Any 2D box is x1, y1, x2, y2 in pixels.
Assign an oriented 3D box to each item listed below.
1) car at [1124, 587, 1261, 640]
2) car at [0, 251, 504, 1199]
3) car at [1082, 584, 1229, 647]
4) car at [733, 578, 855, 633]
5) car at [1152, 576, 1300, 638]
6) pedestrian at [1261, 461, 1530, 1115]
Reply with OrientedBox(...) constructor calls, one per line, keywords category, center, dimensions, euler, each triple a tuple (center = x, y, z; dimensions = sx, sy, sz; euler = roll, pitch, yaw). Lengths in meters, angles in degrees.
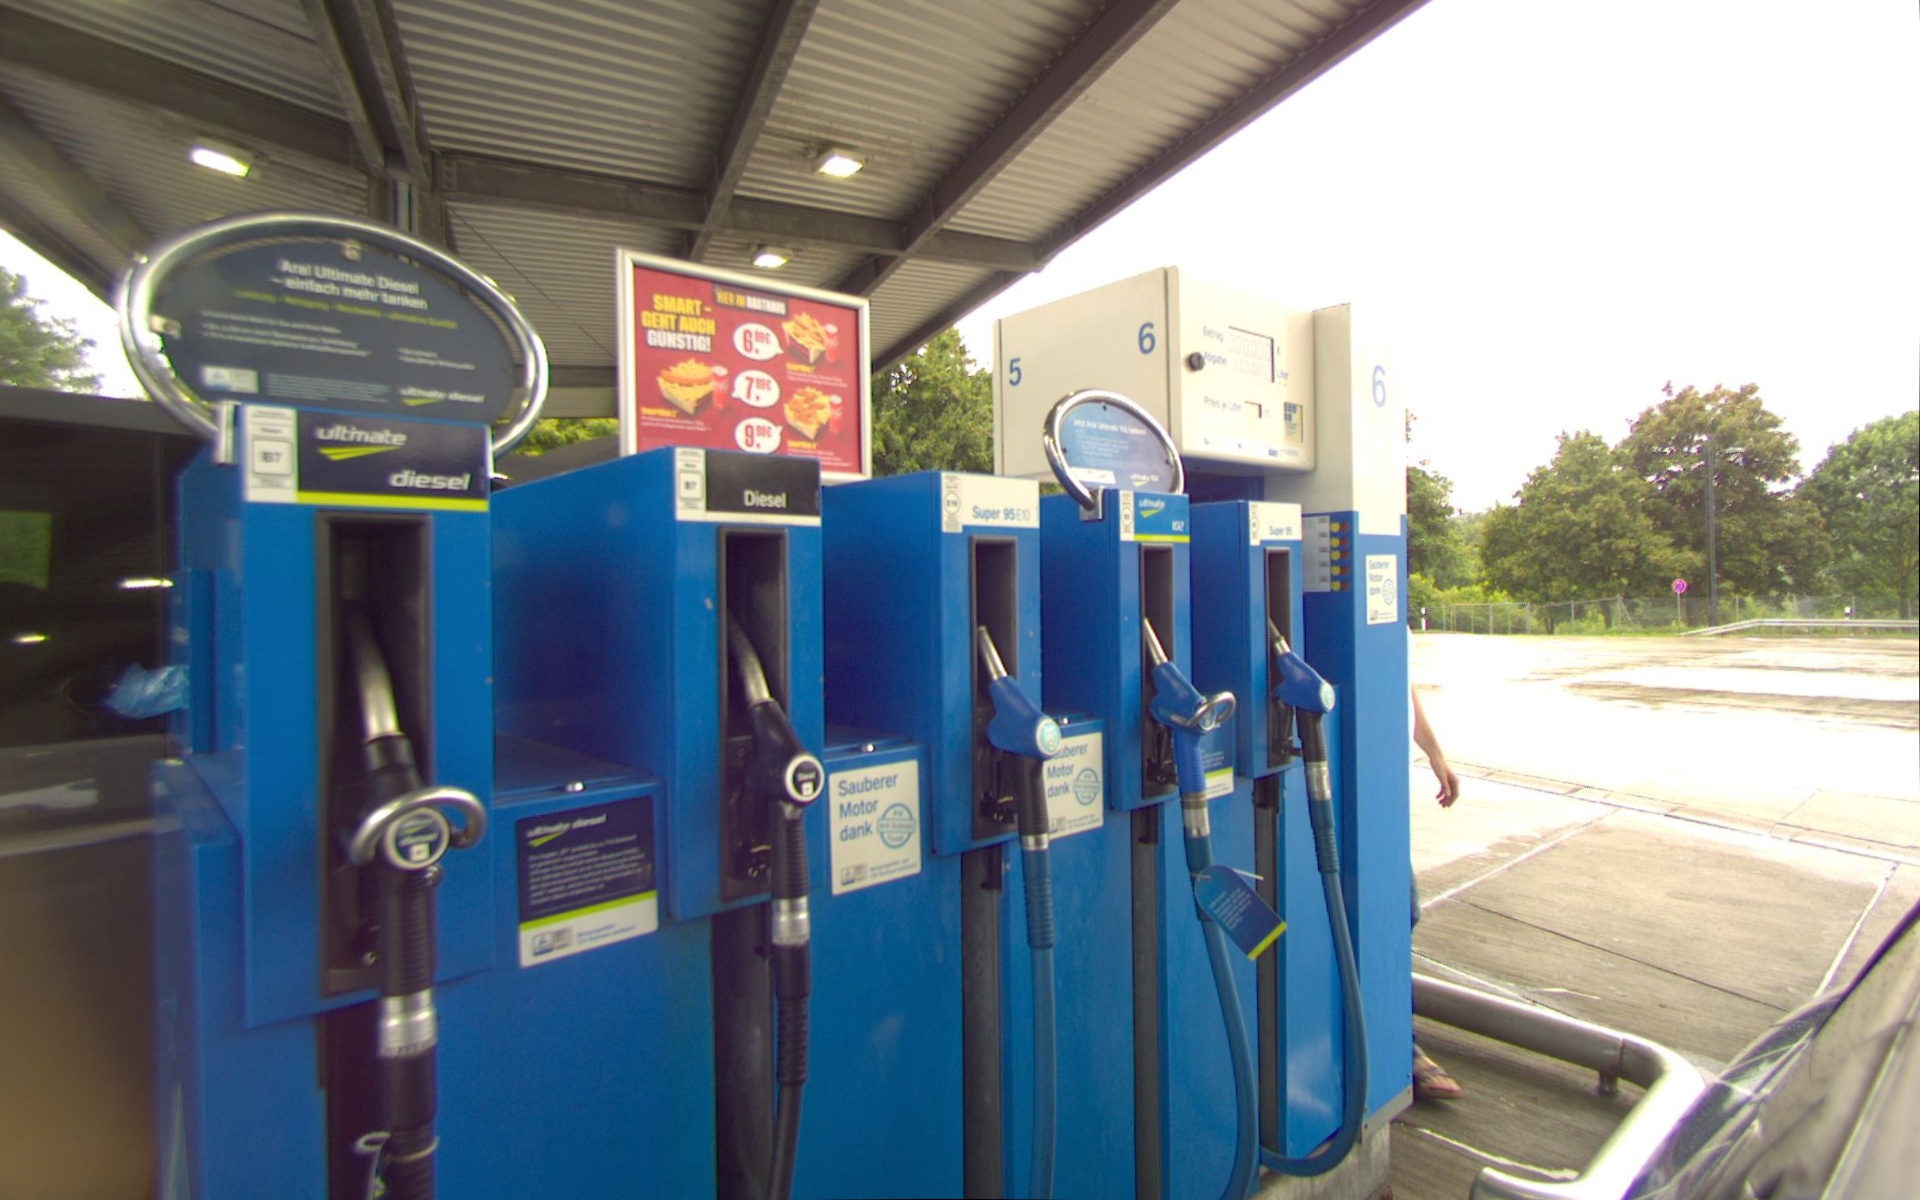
OrientedBox(category="car", center=(7.407, 0.404, 32.158), dimensions=(4.123, 1.576, 1.990), euler=(1, 0, 17))
OrientedBox(category="car", center=(-3.015, 0.427, 1.490), dimensions=(3.930, 1.973, 1.819), euler=(0, 0, -41))
OrientedBox(category="car", center=(5.818, 0.420, 30.024), dimensions=(4.123, 1.752, 1.990), euler=(0, 0, 17))
OrientedBox(category="car", center=(-5.553, 0.150, 33.487), dimensions=(1.967, 1.683, 4.170), euler=(0, 0, -44))
OrientedBox(category="car", center=(8.944, 0.207, 34.343), dimensions=(4.700, 2.011, 2.007), euler=(0, 0, 14))
OrientedBox(category="pedestrian", center=(1.373, 0.517, 3.204), dimensions=(0.621, 1.832, 0.495), euler=(-2, 1, -31))
